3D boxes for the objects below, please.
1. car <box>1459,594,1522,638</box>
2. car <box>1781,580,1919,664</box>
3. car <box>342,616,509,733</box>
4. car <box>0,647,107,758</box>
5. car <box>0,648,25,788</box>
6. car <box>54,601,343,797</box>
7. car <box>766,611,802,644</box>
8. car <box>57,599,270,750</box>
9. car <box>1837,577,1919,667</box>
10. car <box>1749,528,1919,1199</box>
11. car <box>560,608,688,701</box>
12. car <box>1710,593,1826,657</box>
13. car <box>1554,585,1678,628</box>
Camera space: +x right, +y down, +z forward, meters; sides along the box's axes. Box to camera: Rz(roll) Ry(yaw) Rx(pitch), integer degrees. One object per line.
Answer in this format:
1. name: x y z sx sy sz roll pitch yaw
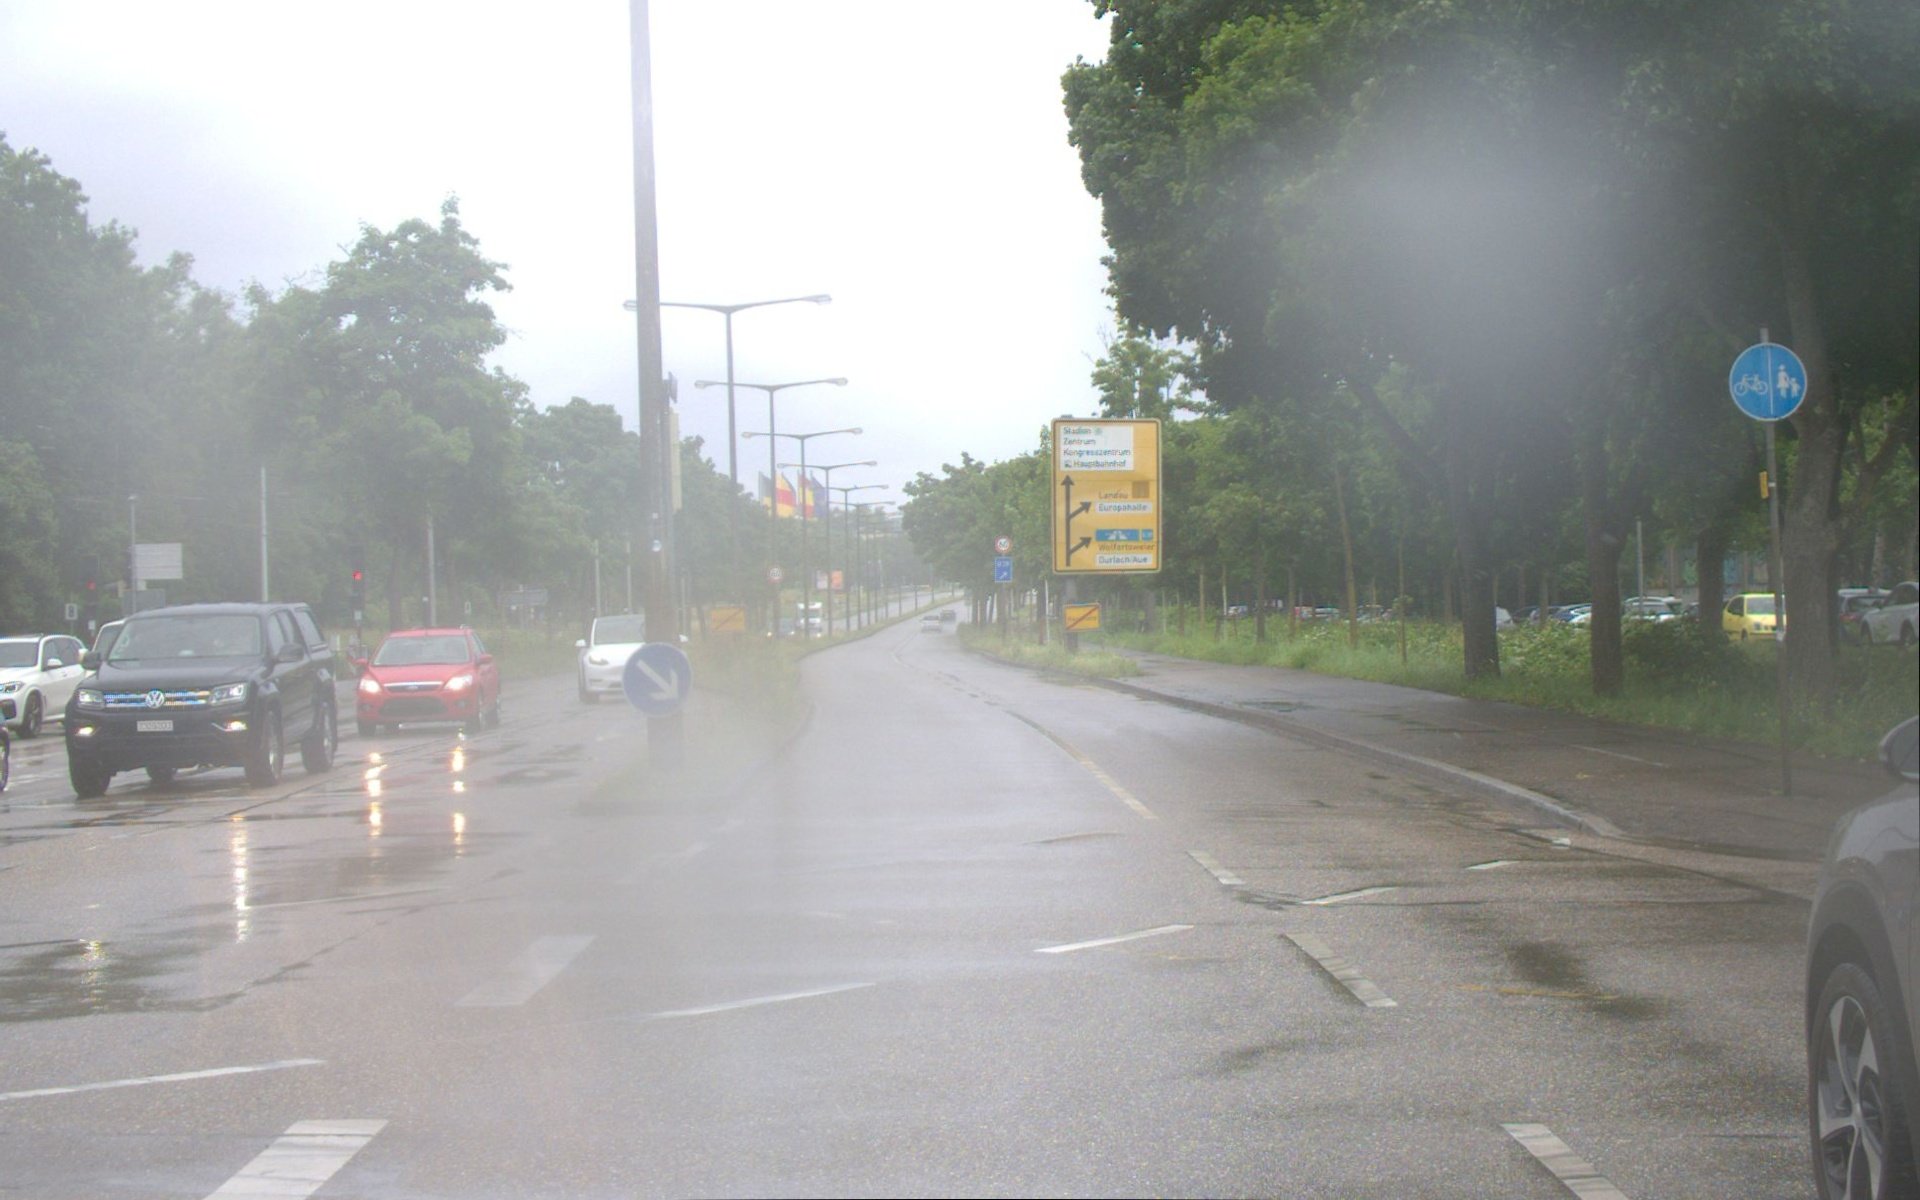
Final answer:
1. car: 19.265 0.558 125.020 1.745 1.440 4.121 -2 1 2
2. car: 19.404 0.492 74.232 1.993 1.711 4.642 -2 -1 -3
3. car: -7.801 1.088 50.520 1.801 1.564 4.429 -3 -1 -1
4. car: -16.248 1.734 59.383 1.993 1.821 4.772 1 -1 -2
5. car: -10.537 1.225 33.886 1.641 1.422 4.000 -3 -1 -3
6. car: -7.628 0.945 34.915 1.805 1.767 5.089 -2 0 -1
7. car: -9.480 1.455 185.104 1.743 1.645 4.136 -3 0 -1
8. car: -11.220 1.005 48.728 1.929 2.011 4.743 0 0 0
9. car: 19.254 0.428 68.656 1.993 1.711 4.879 -2 -1 -3
10. car: 2.836 0.681 6.042 1.884 1.605 4.195 1 0 0
11. car: -6.287 1.000 64.705 1.961 1.611 4.697 -2 0 -1
12. car: 19.244 0.607 82.036 1.637 1.481 4.073 1 -1 -3
13. car: 26.660 0.272 139.848 4.569 1.639 2.000 1 -1 -6
